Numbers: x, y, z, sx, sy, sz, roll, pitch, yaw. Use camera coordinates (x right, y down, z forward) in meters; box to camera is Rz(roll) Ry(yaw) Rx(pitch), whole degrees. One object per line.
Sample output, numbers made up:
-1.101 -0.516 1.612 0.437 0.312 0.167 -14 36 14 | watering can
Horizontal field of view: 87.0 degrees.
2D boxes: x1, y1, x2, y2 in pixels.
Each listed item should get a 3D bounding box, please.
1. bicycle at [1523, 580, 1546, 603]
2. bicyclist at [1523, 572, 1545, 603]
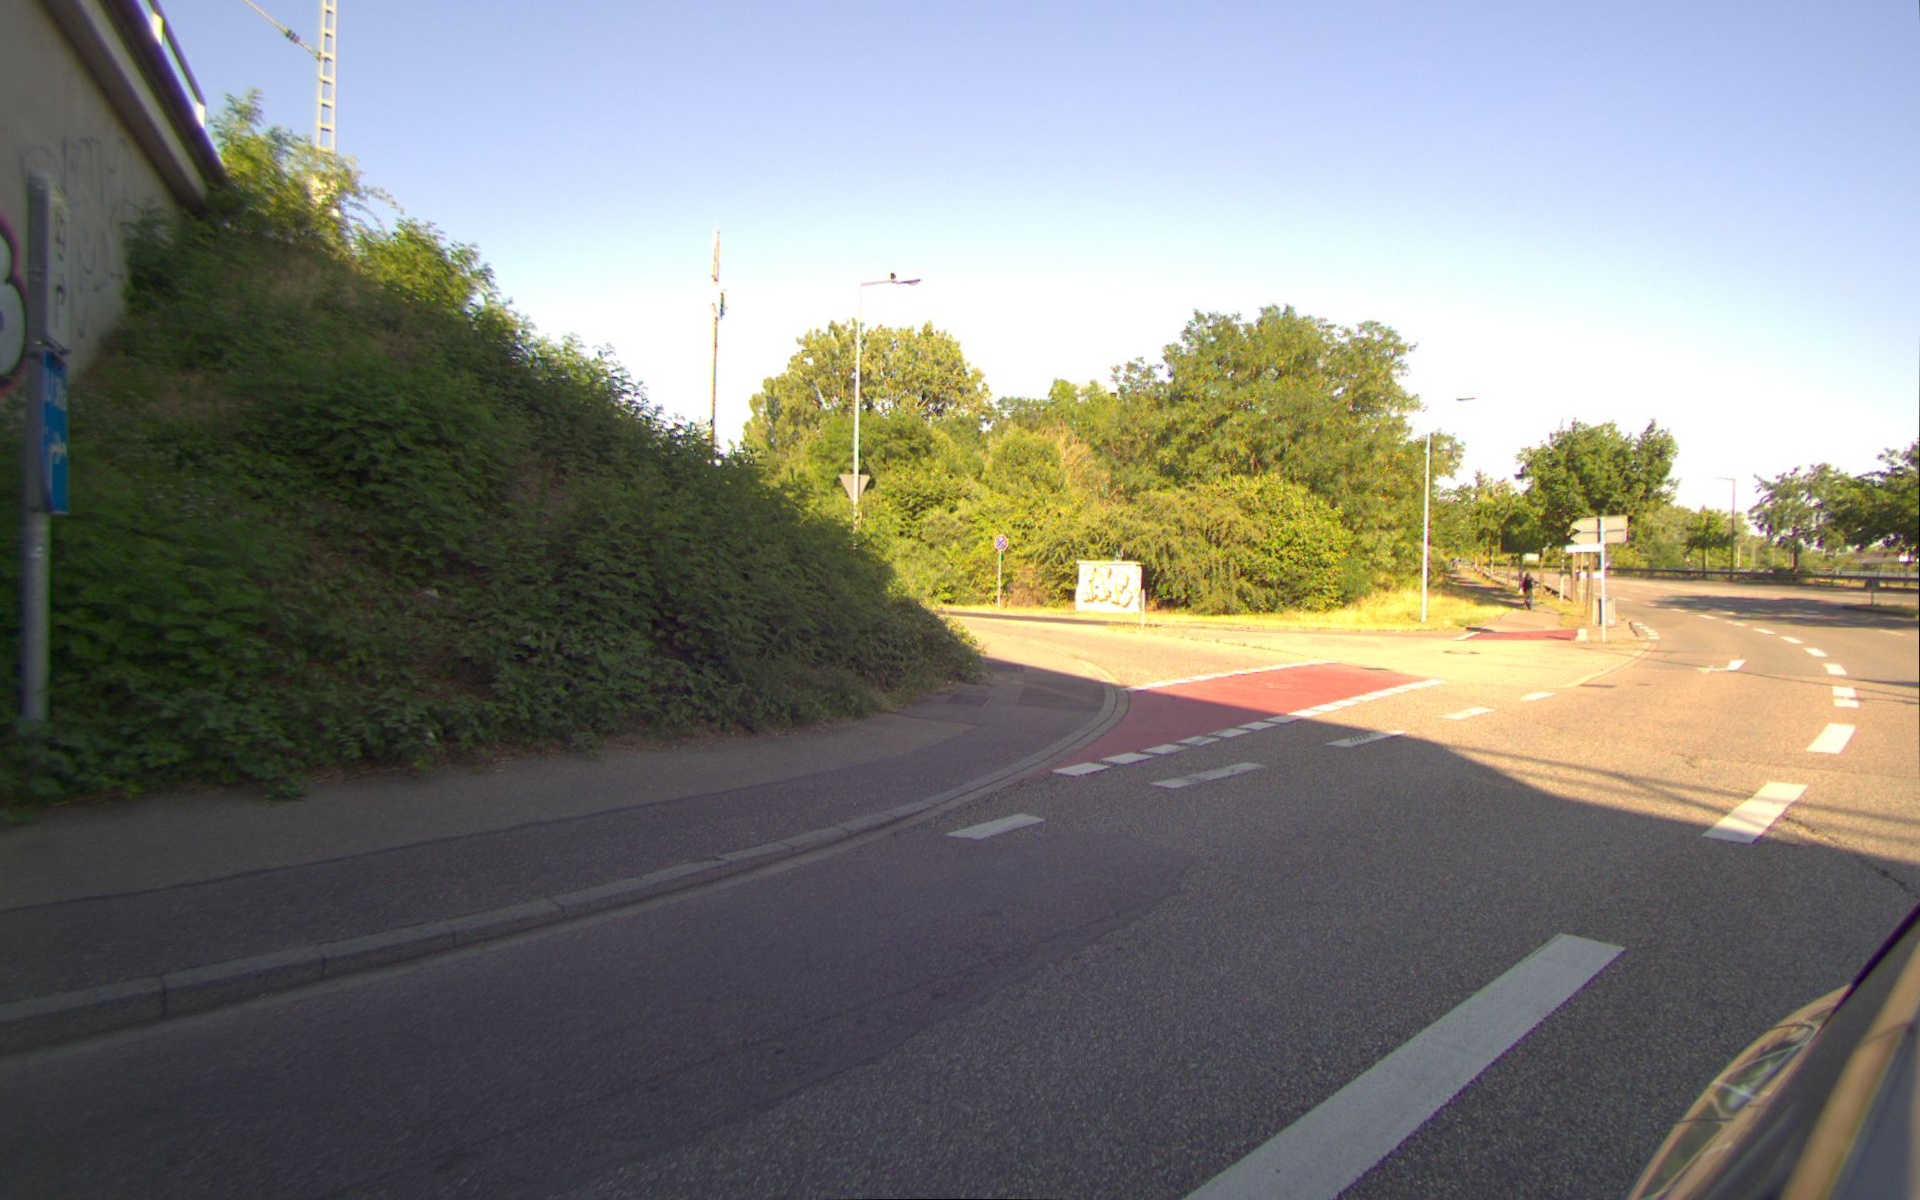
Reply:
27.070 -0.403 47.686 0.775 1.070 2.474 0 0 26 | bicycle
27.041 -0.593 47.699 0.835 1.439 1.104 0 0 27 | bicyclist
